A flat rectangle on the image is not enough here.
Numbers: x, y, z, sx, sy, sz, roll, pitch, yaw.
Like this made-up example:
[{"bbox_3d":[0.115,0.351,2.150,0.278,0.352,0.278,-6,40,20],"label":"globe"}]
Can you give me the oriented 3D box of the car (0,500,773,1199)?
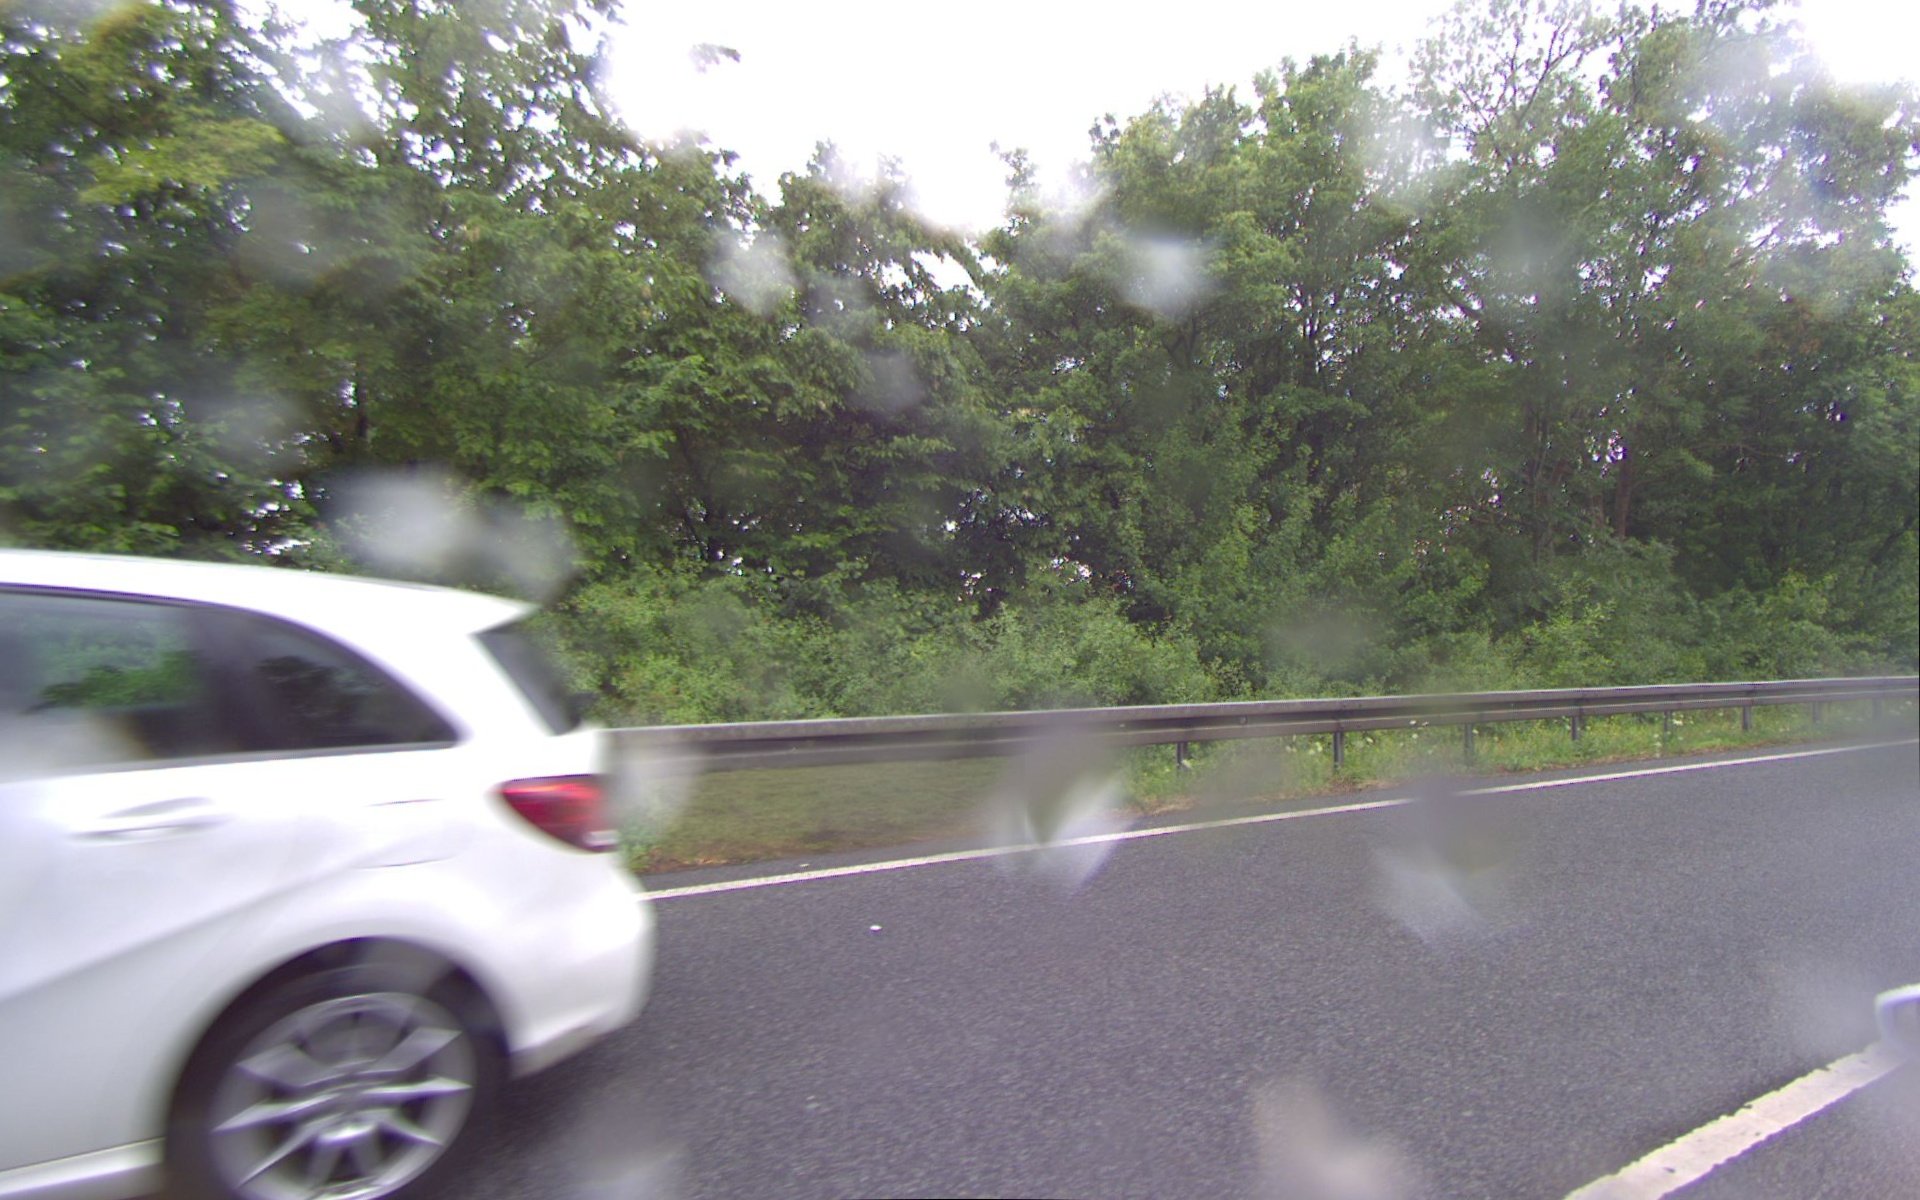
[{"bbox_3d":[-2.829,0.568,2.334,4.389,1.576,1.683,2,0,-30],"label":"car"}]
